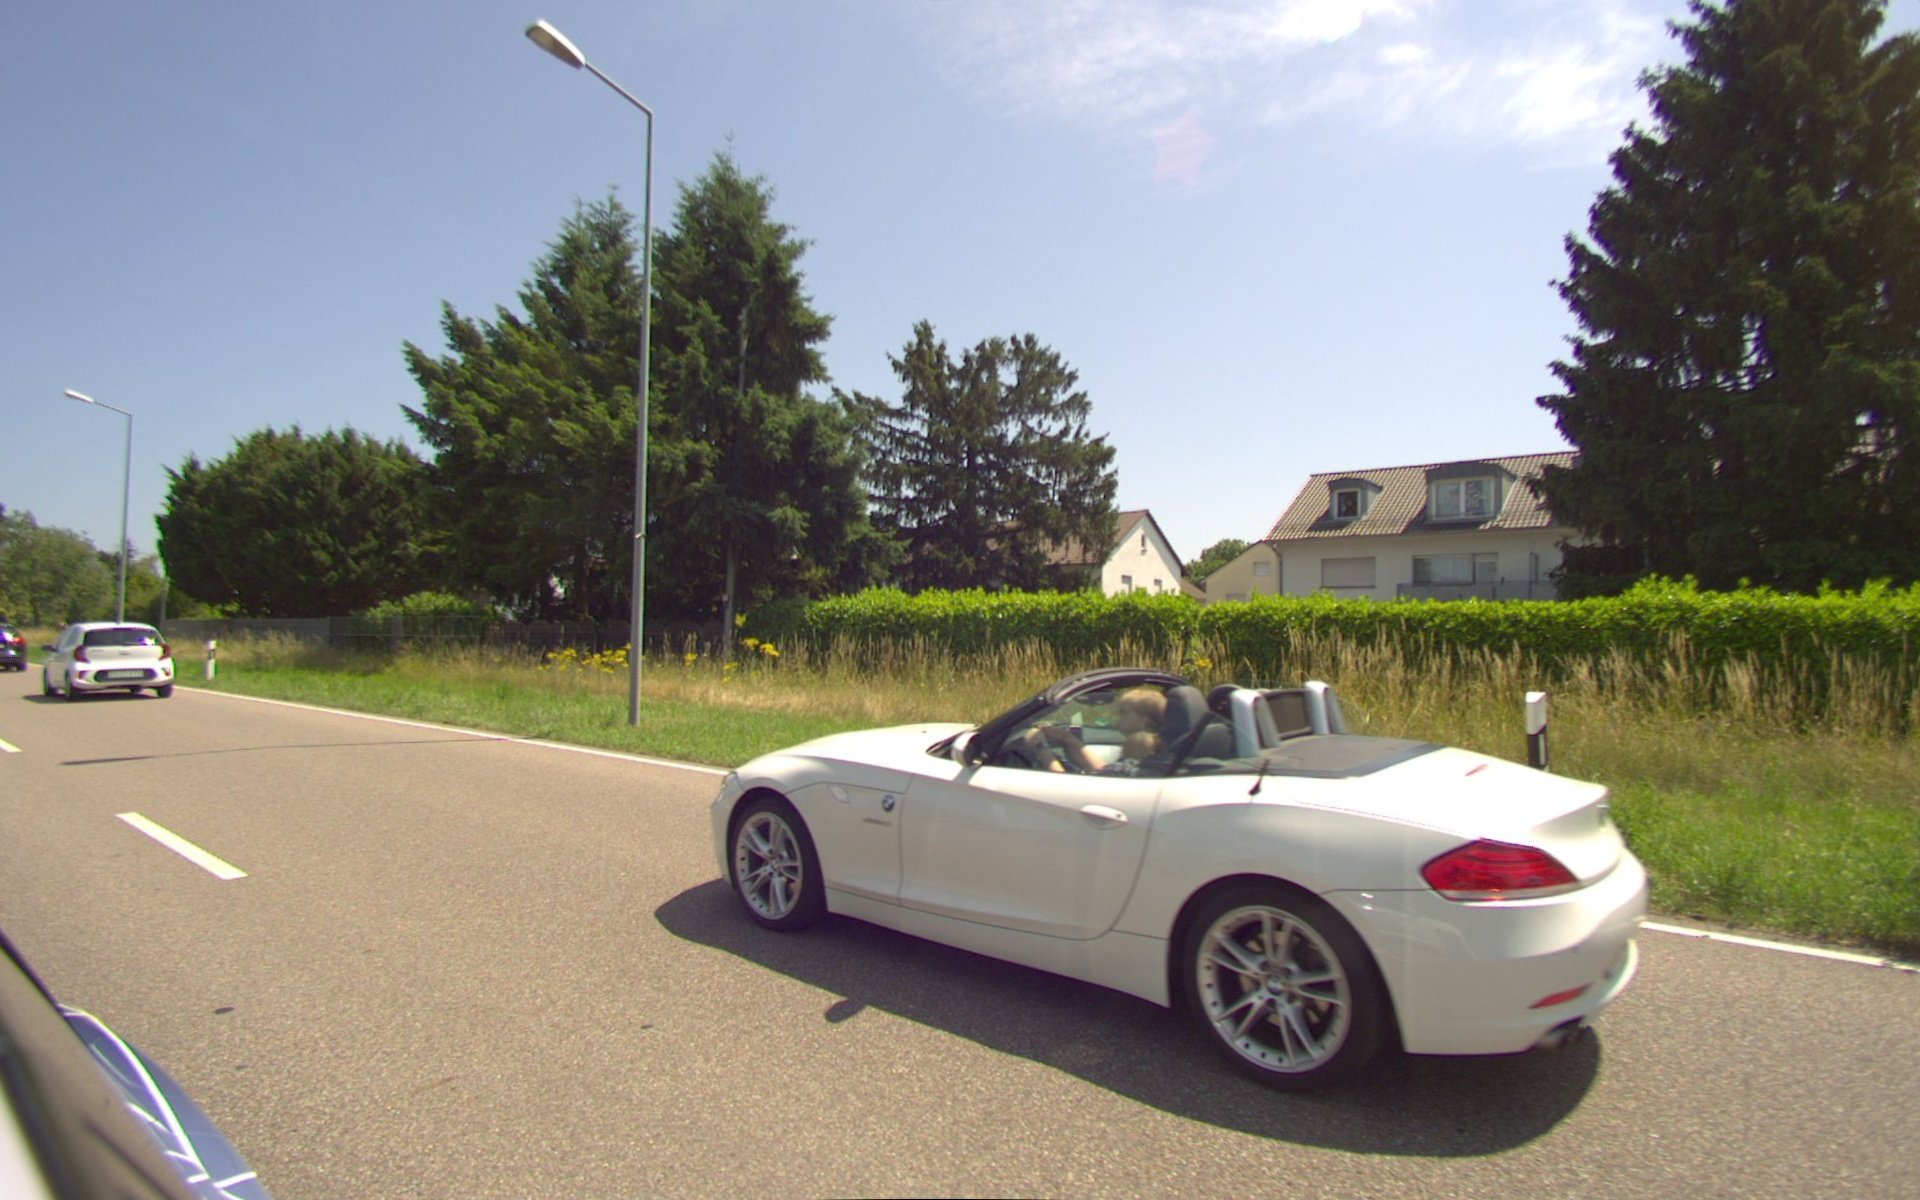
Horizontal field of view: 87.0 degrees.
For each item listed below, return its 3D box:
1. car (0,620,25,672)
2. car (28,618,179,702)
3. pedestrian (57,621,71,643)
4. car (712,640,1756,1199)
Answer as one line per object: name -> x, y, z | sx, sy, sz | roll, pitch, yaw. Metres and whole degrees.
car -> -29.981, 1.359, 30.838 | 4.438, 1.503, 1.683 | -1, -2, 41
car -> -17.128, 1.125, 20.189 | 3.705, 1.514, 1.729 | -1, -2, 41
pedestrian -> -62.131, 2.204, 70.173 | 0.632, 1.489, 0.603 | -1, -2, 38
car -> 0.809, 0.835, 4.249 | 3.907, 1.259, 1.665 | -1, -2, 41
